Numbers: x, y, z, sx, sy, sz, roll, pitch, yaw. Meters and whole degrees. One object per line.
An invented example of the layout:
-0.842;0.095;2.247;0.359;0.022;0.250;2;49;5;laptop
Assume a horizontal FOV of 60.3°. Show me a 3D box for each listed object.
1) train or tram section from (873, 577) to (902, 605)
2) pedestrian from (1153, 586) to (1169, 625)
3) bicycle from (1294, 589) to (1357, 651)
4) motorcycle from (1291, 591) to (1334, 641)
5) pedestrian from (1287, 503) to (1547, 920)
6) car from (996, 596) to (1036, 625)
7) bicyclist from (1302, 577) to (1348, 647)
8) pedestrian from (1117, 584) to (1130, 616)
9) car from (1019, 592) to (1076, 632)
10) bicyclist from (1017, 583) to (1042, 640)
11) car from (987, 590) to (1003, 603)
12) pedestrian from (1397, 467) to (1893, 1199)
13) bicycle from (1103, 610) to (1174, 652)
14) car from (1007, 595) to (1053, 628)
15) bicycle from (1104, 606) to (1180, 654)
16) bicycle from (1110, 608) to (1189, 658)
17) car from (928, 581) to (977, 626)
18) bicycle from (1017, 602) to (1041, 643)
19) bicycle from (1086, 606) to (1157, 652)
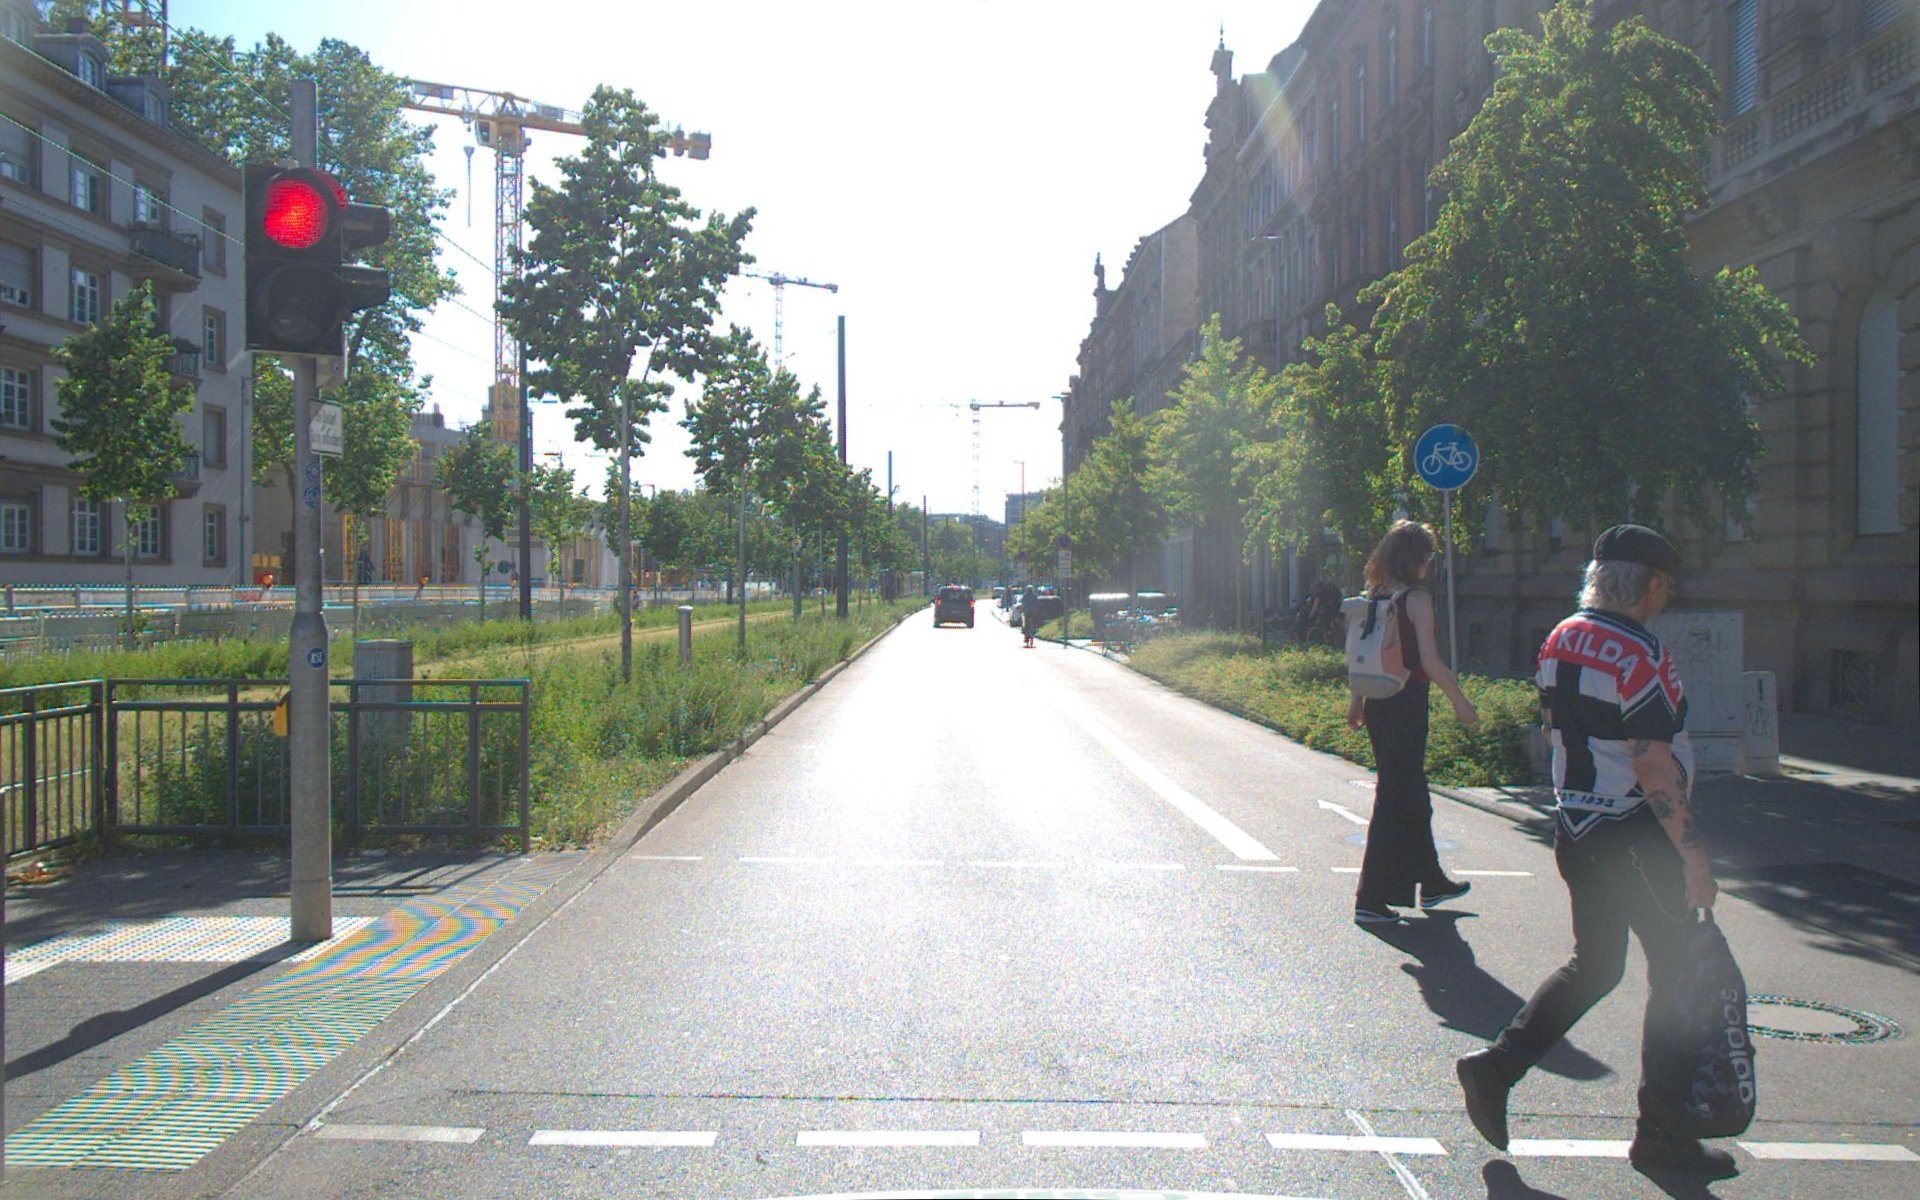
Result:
-7.446;-0.865;171.015;2.700;2.790;9.861;1;0;-1;train or tram section
8.370;0.228;68.856;0.601;1.640;0.669;0;0;-1;pedestrian
8.441;0.463;38.263;0.605;1.353;1.894;-4;0;-13;bicycle
9.427;0.412;44.294;0.686;1.289;1.981;0;0;-1;motorcycle
2.216;0.512;8.096;1.055;1.942;0.652;0;0;-7;pedestrian
3.101;0.560;92.340;1.987;1.525;4.529;0;0;-1;car
8.433;0.278;38.211;0.649;1.556;0.798;-4;0;-13;bicyclist
8.530;-0.019;86.215;0.601;1.640;0.669;0;0;-1;pedestrian
3.535;0.461;67.474;1.987;1.525;4.653;0;0;-1;car
2.125;0.348;50.645;0.670;1.702;0.922;2;0;-2;bicyclist
4.737;-0.483;223.336;1.953;1.759;3.999;1;0;-1;car
1.774;0.599;4.436;0.848;1.819;0.969;1;0;-7;pedestrian
4.596;0.804;42.599;1.756;1.048;0.527;0;0;-1;bicycle
3.346;0.516;79.816;1.987;1.525;4.529;0;0;-1;car
4.500;0.737;40.990;1.756;1.048;0.527;-4;0;-1;bicycle
4.530;0.787;39.617;1.756;1.048;0.527;-4;0;-1;bicycle
-0.364;0.151;75.886;2.155;1.960;4.653;0;0;-1;car
2.105;0.674;50.499;0.589;1.201;1.869;2;0;-1;bicycle
4.295;0.768;44.019;1.756;1.048;0.527;-4;0;-1;bicycle
